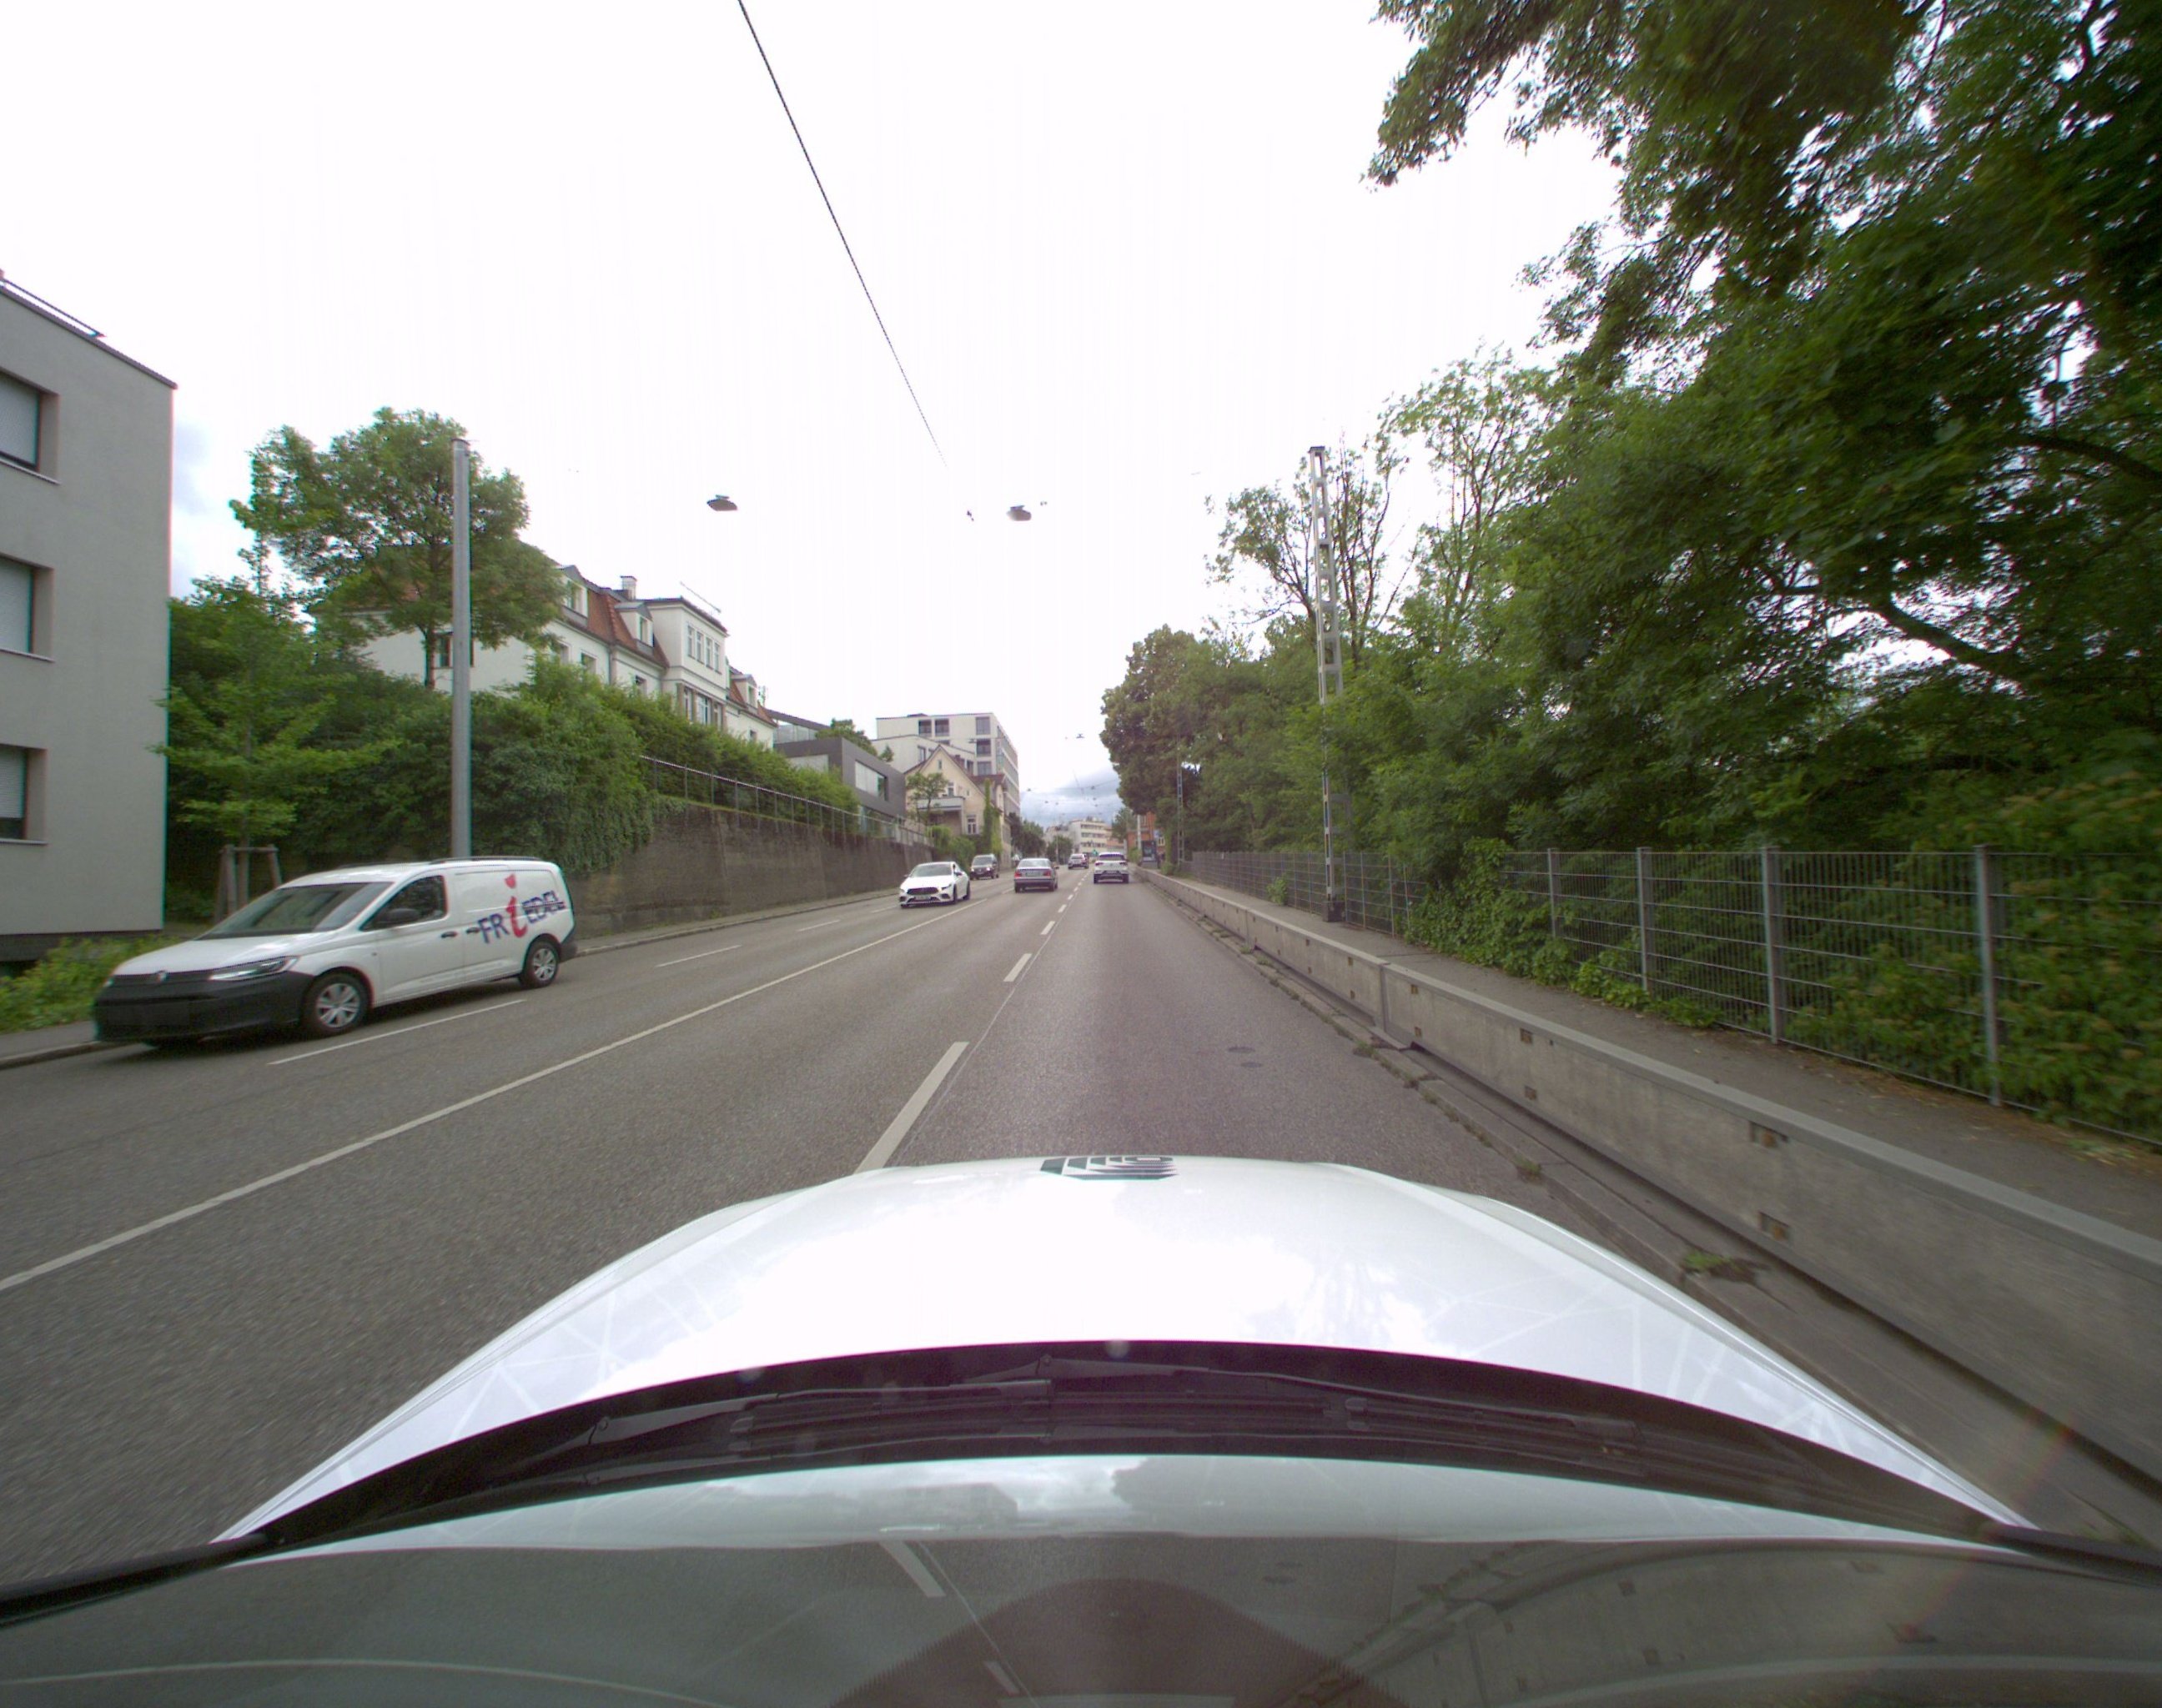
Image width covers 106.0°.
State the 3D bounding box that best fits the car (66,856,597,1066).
[{"bbox_3d":[-8.295,0.981,9.869,1.726,1.788,4.868,-4,0,2],"label":"car"}]

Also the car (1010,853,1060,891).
[{"bbox_3d":[-1.885,0.720,34.548,1.700,1.464,4.001,-2,0,1],"label":"car"}]

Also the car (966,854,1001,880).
[{"bbox_3d":[-7.106,0.911,60.001,1.810,1.784,4.496,-3,0,2],"label":"car"}]

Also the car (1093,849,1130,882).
[{"bbox_3d":[1.520,0.549,41.958,1.774,1.579,4.000,-1,0,0],"label":"car"}]

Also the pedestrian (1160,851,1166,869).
[{"bbox_3d":[7.950,0.602,78.760,0.508,1.717,0.465,-2,0,0],"label":"pedestrian"}]

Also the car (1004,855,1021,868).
[{"bbox_3d":[-8.990,0.983,107.325,1.989,1.701,3.996,-2,0,-2],"label":"car"}]

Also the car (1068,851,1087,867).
[{"bbox_3d":[-0.319,0.447,78.176,1.700,1.464,4.001,-2,0,1],"label":"car"}]

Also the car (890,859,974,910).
[{"bbox_3d":[-4.935,0.963,27.563,1.809,1.386,4.464,-4,0,2],"label":"car"}]

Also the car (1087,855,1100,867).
[{"bbox_3d":[1.688,0.925,109.082,1.700,1.464,4.001,-2,0,1],"label":"car"}]
